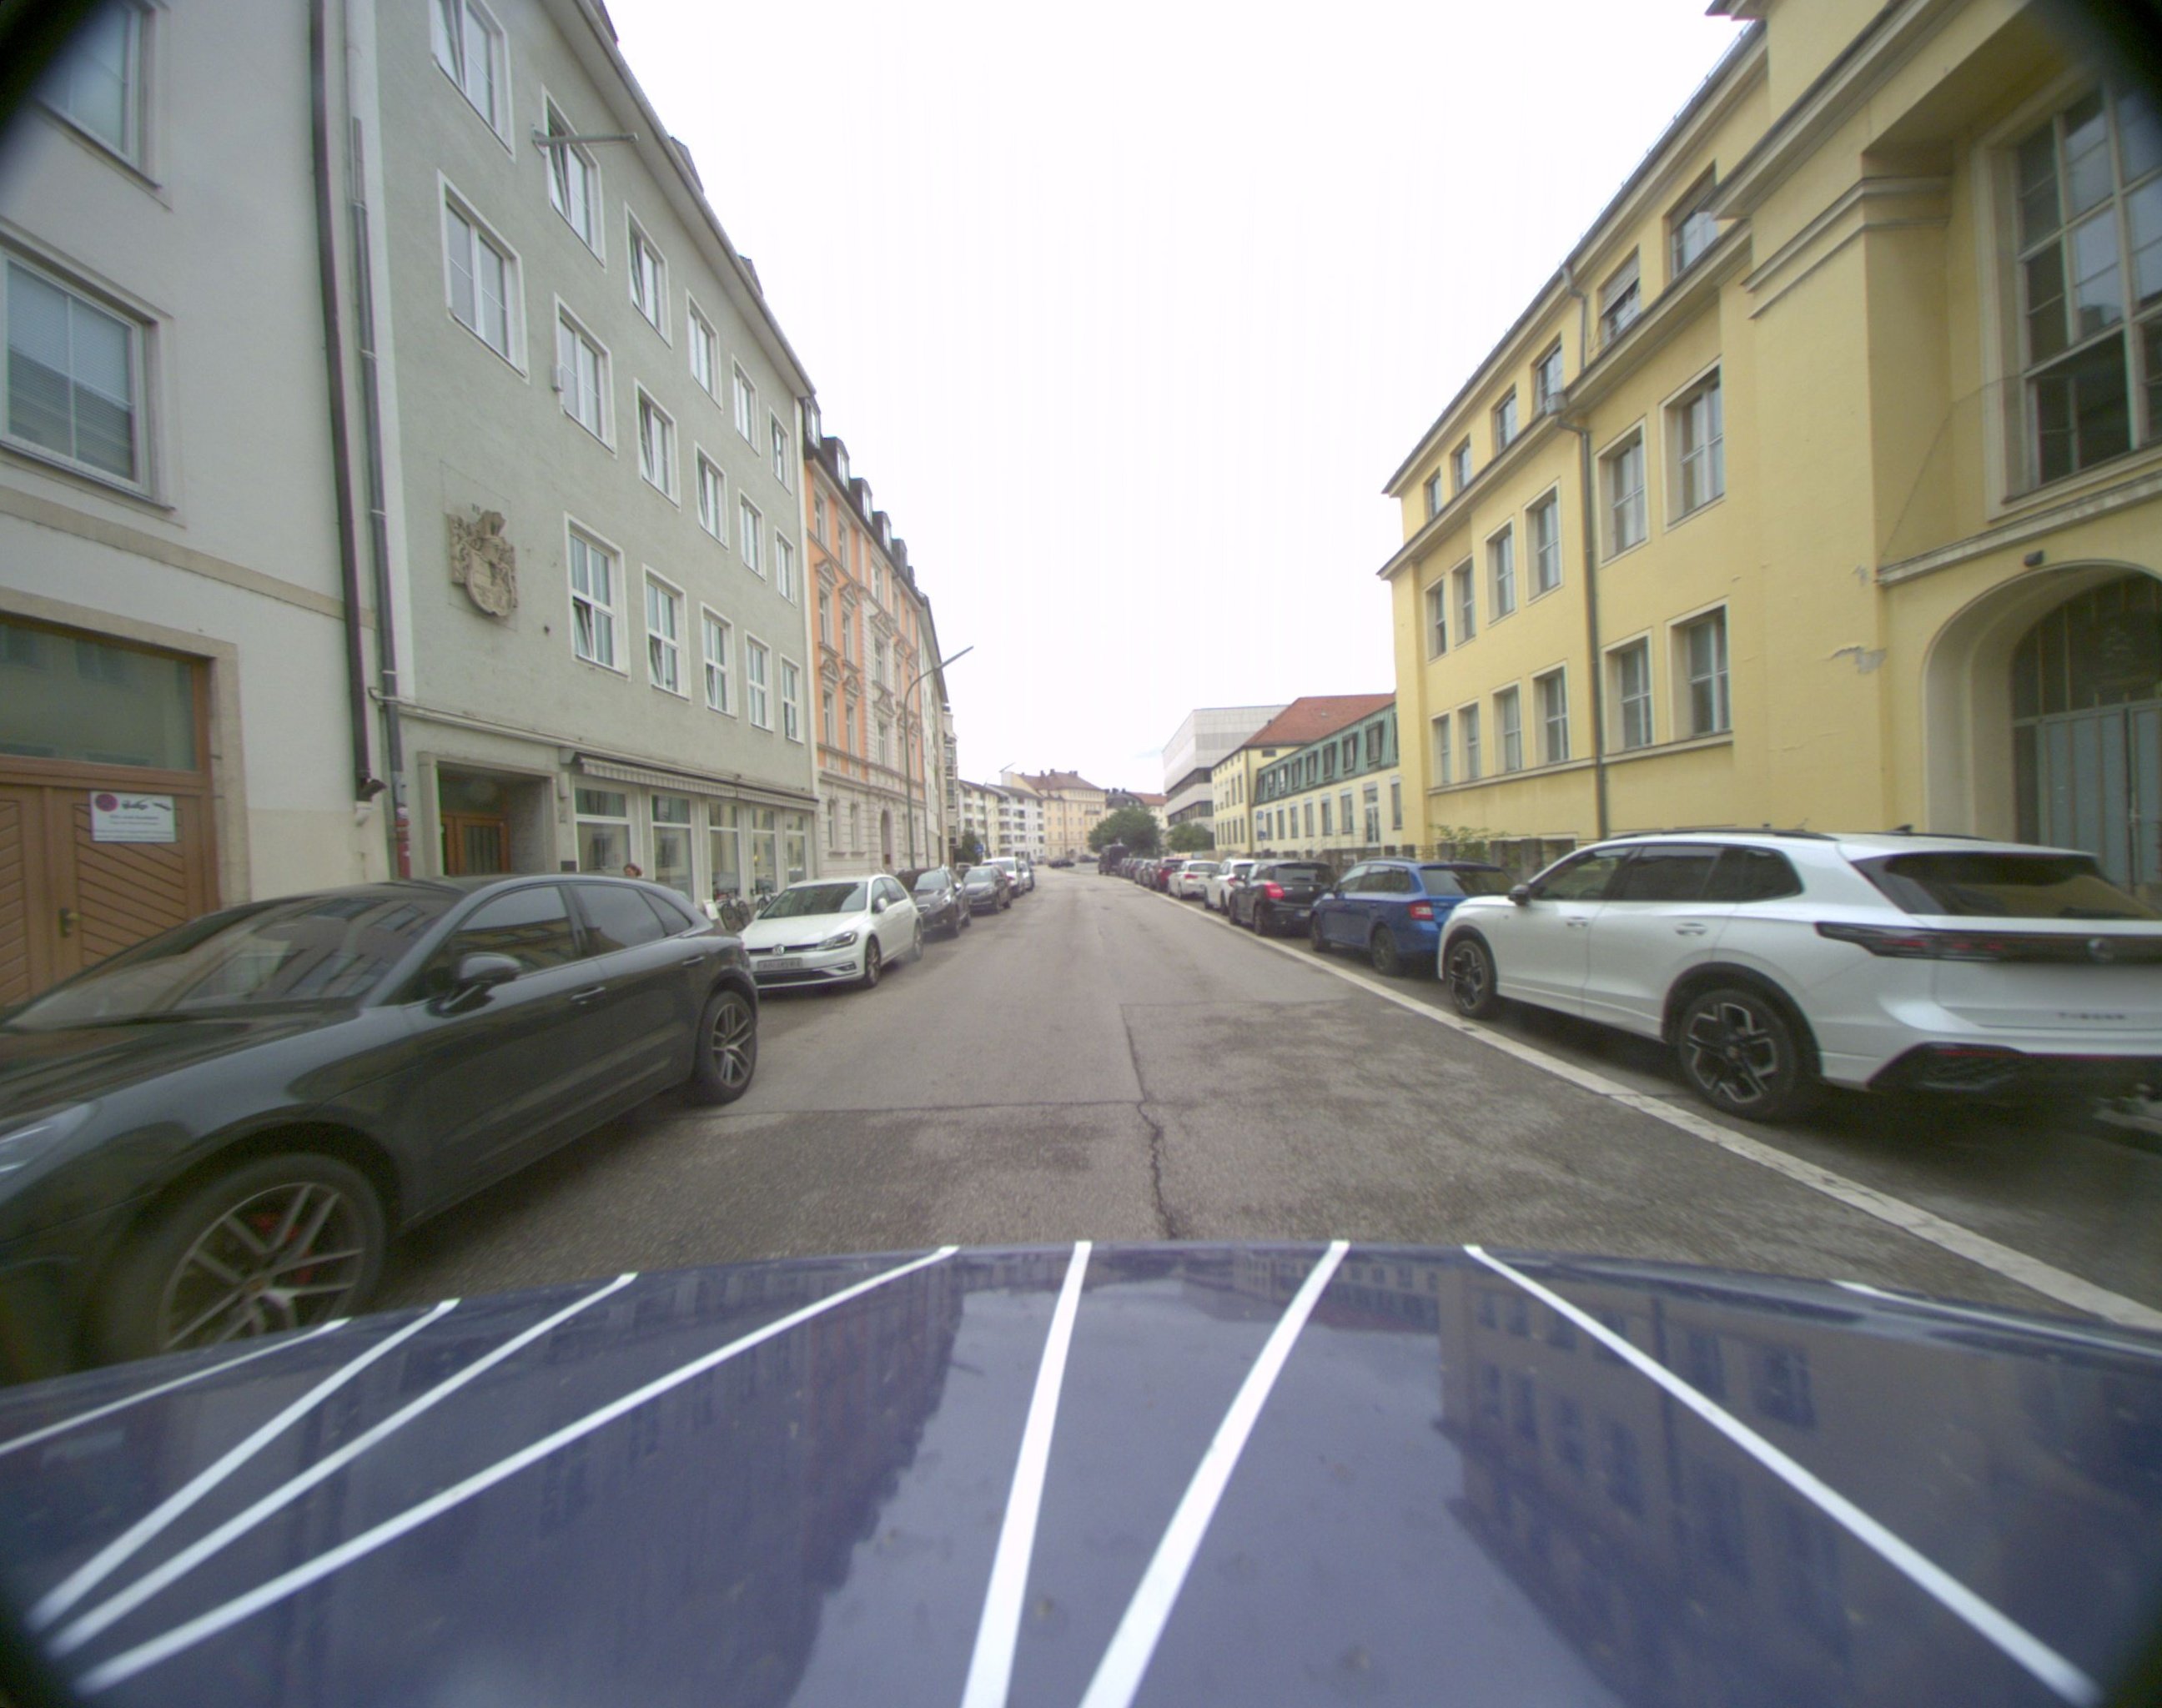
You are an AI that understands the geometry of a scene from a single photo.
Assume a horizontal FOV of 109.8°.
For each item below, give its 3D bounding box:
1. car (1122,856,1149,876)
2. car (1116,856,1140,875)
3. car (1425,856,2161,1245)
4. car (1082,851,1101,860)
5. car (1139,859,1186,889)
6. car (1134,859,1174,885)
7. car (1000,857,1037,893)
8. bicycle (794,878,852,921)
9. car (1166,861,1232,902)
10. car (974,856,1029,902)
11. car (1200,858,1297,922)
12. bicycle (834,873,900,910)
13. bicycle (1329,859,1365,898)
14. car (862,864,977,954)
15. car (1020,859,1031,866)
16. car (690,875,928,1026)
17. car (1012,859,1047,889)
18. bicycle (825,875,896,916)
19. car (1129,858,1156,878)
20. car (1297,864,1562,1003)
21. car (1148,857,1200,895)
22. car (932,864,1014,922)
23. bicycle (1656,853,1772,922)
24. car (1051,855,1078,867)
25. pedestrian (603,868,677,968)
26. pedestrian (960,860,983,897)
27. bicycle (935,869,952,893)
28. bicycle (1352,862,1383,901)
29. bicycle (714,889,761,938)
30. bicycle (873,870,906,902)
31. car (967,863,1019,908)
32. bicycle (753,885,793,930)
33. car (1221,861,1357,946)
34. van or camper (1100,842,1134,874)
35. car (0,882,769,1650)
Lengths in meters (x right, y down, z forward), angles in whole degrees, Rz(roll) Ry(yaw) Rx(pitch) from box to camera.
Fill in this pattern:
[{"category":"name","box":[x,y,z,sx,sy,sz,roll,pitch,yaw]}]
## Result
[{"category":"car","box":[4.228,0.914,59.269,1.700,1.553,3.867,1,0,-2]},{"category":"car","box":[3.906,0.960,63.614,1.642,1.553,3.838,1,0,-2]},{"category":"car","box":[4.379,0.848,5.412,1.684,1.624,4.355,1,0,-3]},{"category":"car","box":[2.223,0.340,161.810,3.997,1.849,2.000,-1,0,0]},{"category":"car","box":[4.111,0.979,38.774,1.680,1.396,3.989,1,0,-4]},{"category":"car","box":[4.179,0.989,43.995,1.798,1.396,4.126,1,0,-2]},{"category":"car","box":[-3.219,1.070,39.731,1.608,1.633,3.630,-4,1,-1]},{"category":"bicycle","box":[-7.430,1.294,22.018,0.771,1.068,2.458,-2,0,0]},{"category":"car","box":[4.323,0.963,28.347,1.679,1.390,3.996,1,0,-2]},{"category":"car","box":[-3.508,1.039,34.412,1.845,1.775,4.895,-5,0,0]},{"category":"car","box":[4.468,0.912,20.858,1.727,1.518,4.087,2,0,0]},{"category":"bicycle","box":[-7.111,1.229,25.320,0.607,1.176,2.100,-2,-2,43]},{"category":"bicycle","box":[8.687,0.774,24.893,0.587,1.190,1.717,-4,0,3]},{"category":"car","box":[-3.452,1.106,16.957,1.697,1.574,4.082,-5,0,-2]},{"category":"car","box":[-11.425,1.719,155.671,1.756,1.445,3.570,-3,0,2]},{"category":"car","box":[-3.492,1.158,10.652,1.696,1.455,4.083,-5,0,1]},{"category":"car","box":[-3.023,1.126,45.145,1.745,1.578,4.200,-4,0,-1]},{"category":"bicycle","box":[-7.051,1.324,24.397,0.607,1.176,2.099,-2,0,45]},{"category":"car","box":[4.355,0.981,54.433,1.699,1.396,4.000,1,0,2]},{"category":"car","box":[4.455,0.913,10.454,1.684,1.496,3.972,1,0,-2]},{"category":"car","box":[4.084,0.920,33.907,1.679,1.557,3.996,1,0,-2]},{"category":"car","box":[-3.235,1.136,23.466,1.696,1.443,4.083,-5,0,2]},{"category":"bicycle","box":[10.677,0.555,12.842,1.561,1.045,0.439,-4,1,-1]},{"category":"car","box":[-2.791,1.225,125.460,4.248,1.849,1.999,-2,0,-6]},{"category":"pedestrian","box":[-7.478,1.067,12.931,0.736,1.616,0.828,-1,1,1]},{"category":"pedestrian","box":[-4.949,1.112,34.438,0.863,1.652,0.647,-2,0,0]},{"category":"bicycle","box":[-6.891,1.337,38.093,0.669,1.115,1.954,-3,0,-6]},{"category":"bicycle","box":[8.674,0.824,23.046,0.587,1.071,1.718,-4,0,12]},{"category":"bicycle","box":[-7.823,1.339,17.356,0.331,0.998,1.521,-1,0,0]},{"category":"bicycle","box":[-7.347,1.225,29.190,0.652,1.176,2.096,-1,-1,2]},{"category":"car","box":[-3.319,1.143,29.260,1.603,1.442,4.300,-4,0,-3]},{"category":"bicycle","box":[-7.746,1.328,19.174,0.331,0.998,1.521,-1,0,1]},{"category":"car","box":[4.094,0.904,15.629,1.684,1.487,3.985,1,0,0]},{"category":"van or camper","box":[3.259,0.359,70.068,2.142,2.791,5.569,-1,0,-7]},{"category":"car","box":[-3.307,1.057,3.433,1.783,1.575,4.330,-4,0,2]}]
